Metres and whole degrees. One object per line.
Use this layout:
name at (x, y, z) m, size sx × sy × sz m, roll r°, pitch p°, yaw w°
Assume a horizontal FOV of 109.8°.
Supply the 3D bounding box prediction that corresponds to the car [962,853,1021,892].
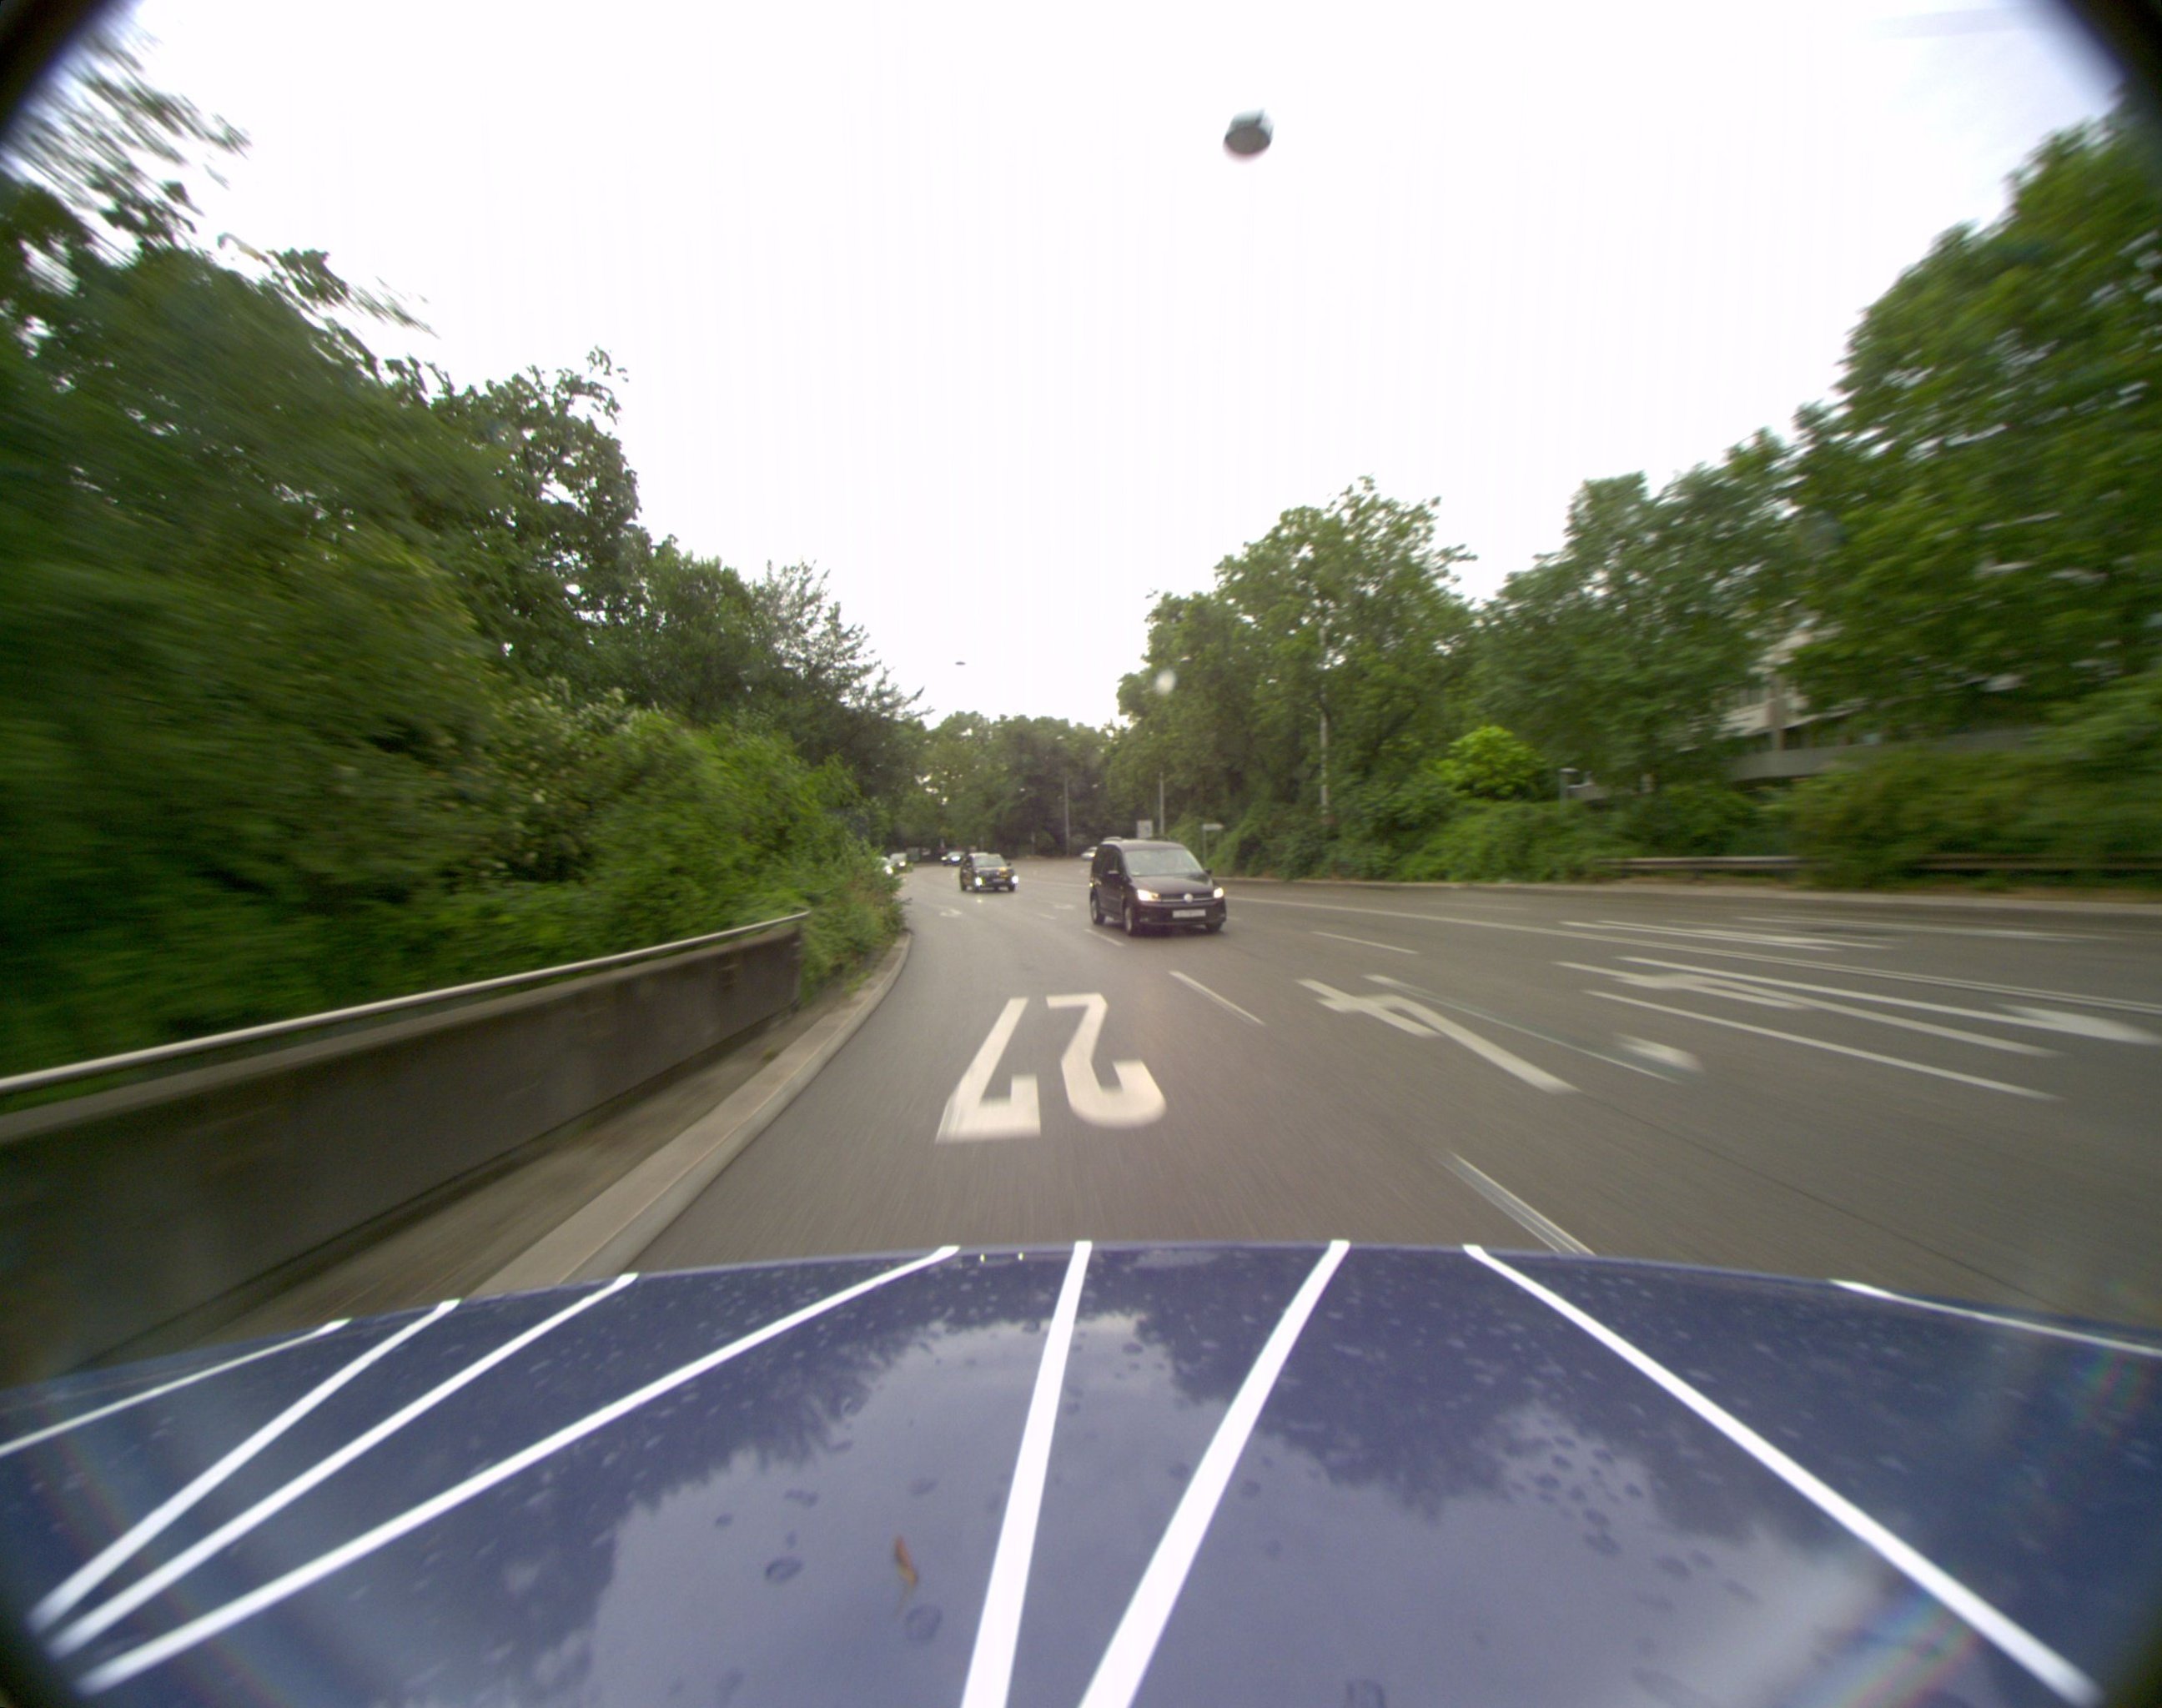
car at (-3.993, 0.763, 33.404) m, size 1.932 × 1.532 × 3.994 m, roll -2°, pitch 1°, yaw -15°

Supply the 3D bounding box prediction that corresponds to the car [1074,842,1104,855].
car at (1.065, -0.721, 99.317) m, size 2.209 × 1.534 × 4.510 m, roll 0°, pitch 2°, yaw 25°

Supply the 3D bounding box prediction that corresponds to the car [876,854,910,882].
car at (-11.203, 0.813, 45.503) m, size 1.796 × 1.445 × 3.995 m, roll -1°, pitch 2°, yaw -11°

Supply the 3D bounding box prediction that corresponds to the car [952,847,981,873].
car at (-8.490, 0.403, 56.288) m, size 2.000 × 1.735 × 4.650 m, roll -1°, pitch 2°, yaw -8°

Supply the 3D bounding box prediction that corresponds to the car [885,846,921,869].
car at (-14.526, 0.281, 62.122) m, size 1.999 × 1.735 × 3.998 m, roll -1°, pitch 2°, yaw -1°

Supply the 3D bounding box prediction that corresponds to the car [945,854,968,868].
car at (-13.108, 0.691, 80.046) m, size 1.581 × 1.325 × 3.107 m, roll -1°, pitch 2°, yaw 5°

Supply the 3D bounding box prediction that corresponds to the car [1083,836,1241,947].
car at (1.420, 0.636, 15.045) m, size 1.797 × 1.789 × 4.120 m, roll -3°, pitch 1°, yaw -13°
